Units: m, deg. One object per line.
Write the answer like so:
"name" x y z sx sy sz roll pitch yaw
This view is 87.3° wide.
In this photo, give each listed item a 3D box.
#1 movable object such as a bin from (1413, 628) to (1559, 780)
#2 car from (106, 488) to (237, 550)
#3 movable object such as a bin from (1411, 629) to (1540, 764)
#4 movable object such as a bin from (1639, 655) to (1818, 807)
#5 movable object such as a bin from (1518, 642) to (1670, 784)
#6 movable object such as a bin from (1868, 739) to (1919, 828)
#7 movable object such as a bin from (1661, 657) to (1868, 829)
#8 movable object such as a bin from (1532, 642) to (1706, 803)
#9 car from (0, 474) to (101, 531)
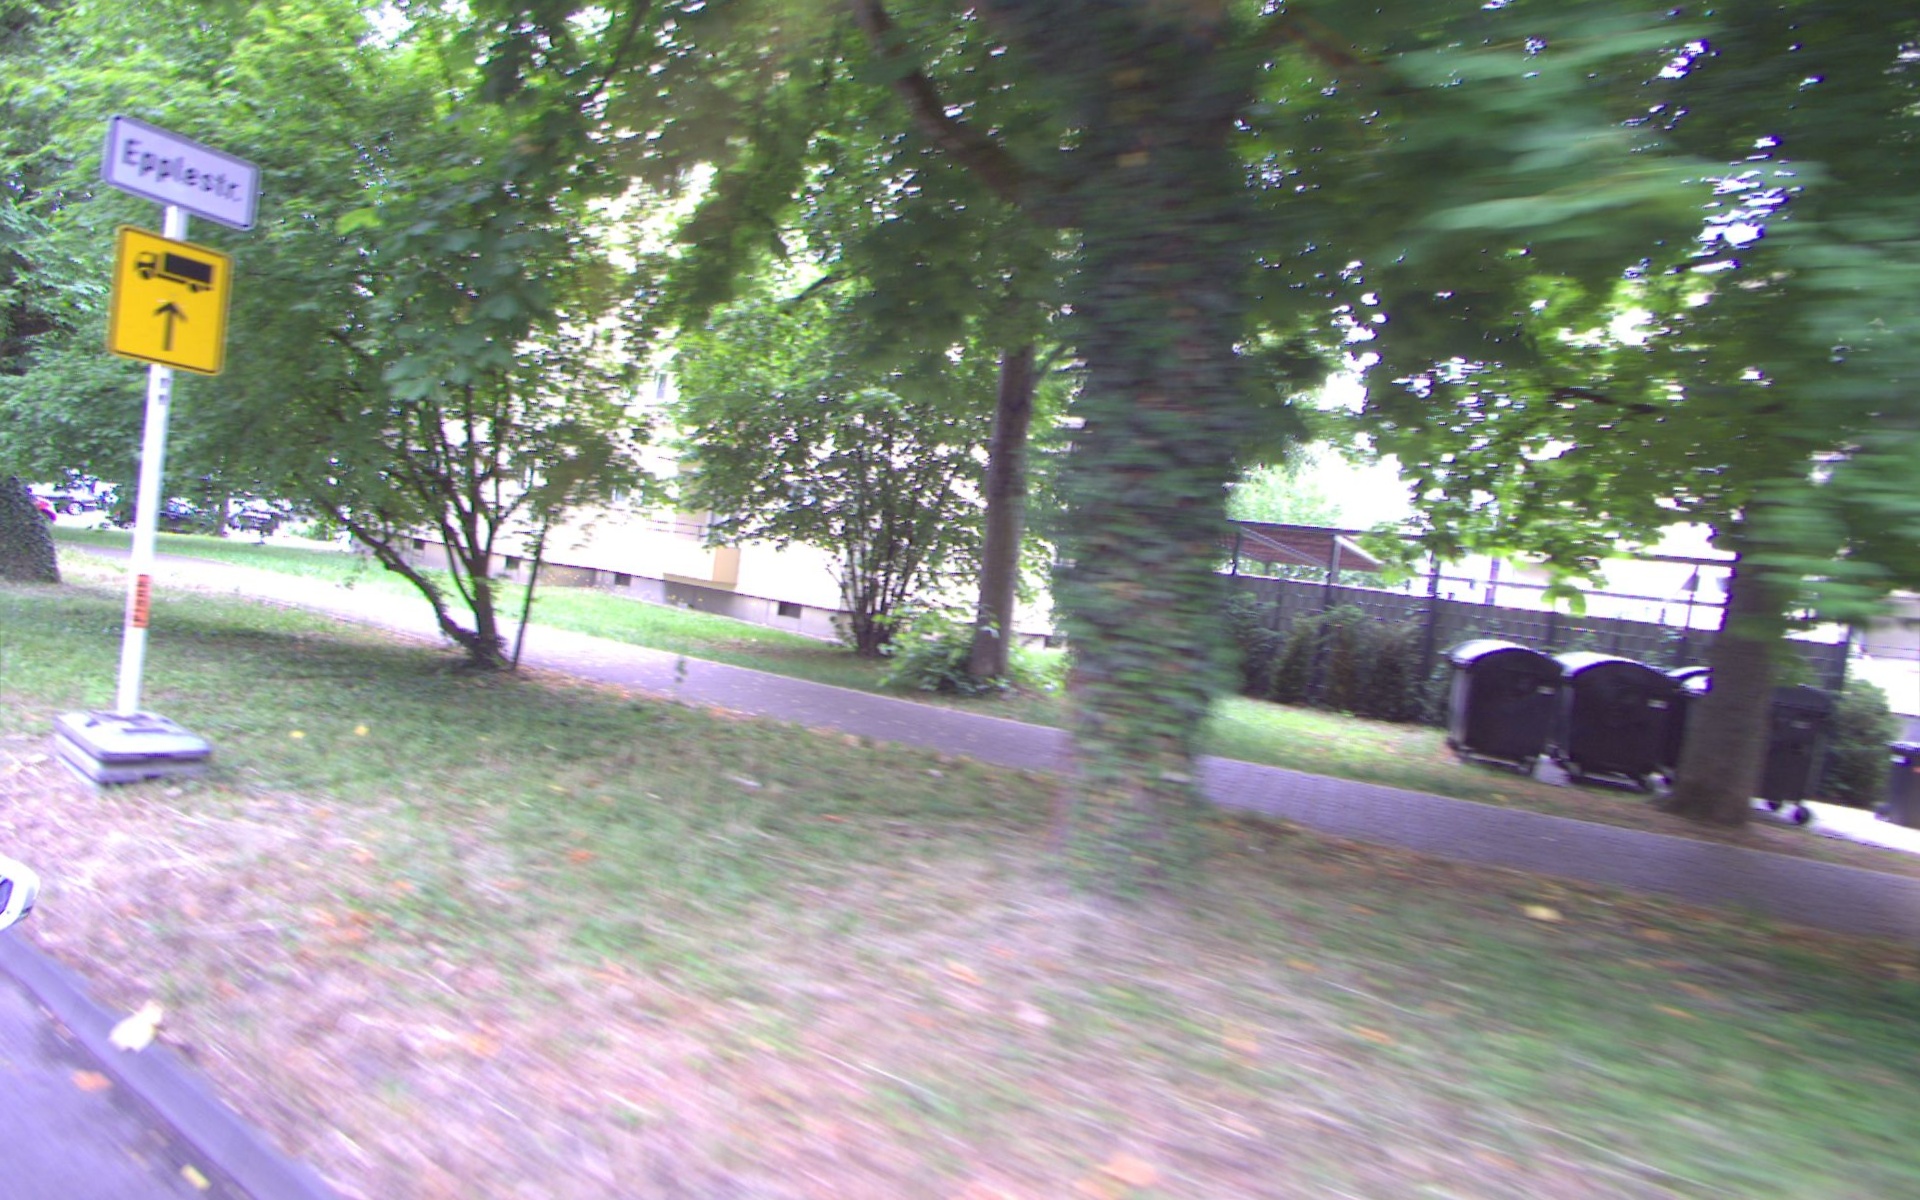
"movable object such as a bin" 6.170 1.173 11.927 1.291 1.521 1.329 7 2 25
"car" -31.861 -3.263 40.793 3.970 1.747 1.780 9 2 -38
"movable object such as a bin" 6.758 1.219 13.304 1.291 1.521 1.329 7 2 25
"movable object such as a bin" 9.184 1.520 12.125 1.291 1.521 1.329 7 2 25
"movable object such as a bin" 7.959 1.371 12.729 1.291 1.521 1.329 7 2 25
"movable object such as a bin" 10.791 2.079 11.287 0.657 0.890 0.600 7 2 25
"movable object such as a bin" 8.556 1.463 10.821 1.291 1.521 1.329 7 2 25
"movable object such as a bin" 7.378 1.320 11.378 1.291 1.521 1.329 7 2 25
"car" -34.981 -3.751 37.639 1.773 1.576 3.985 11 1 39
